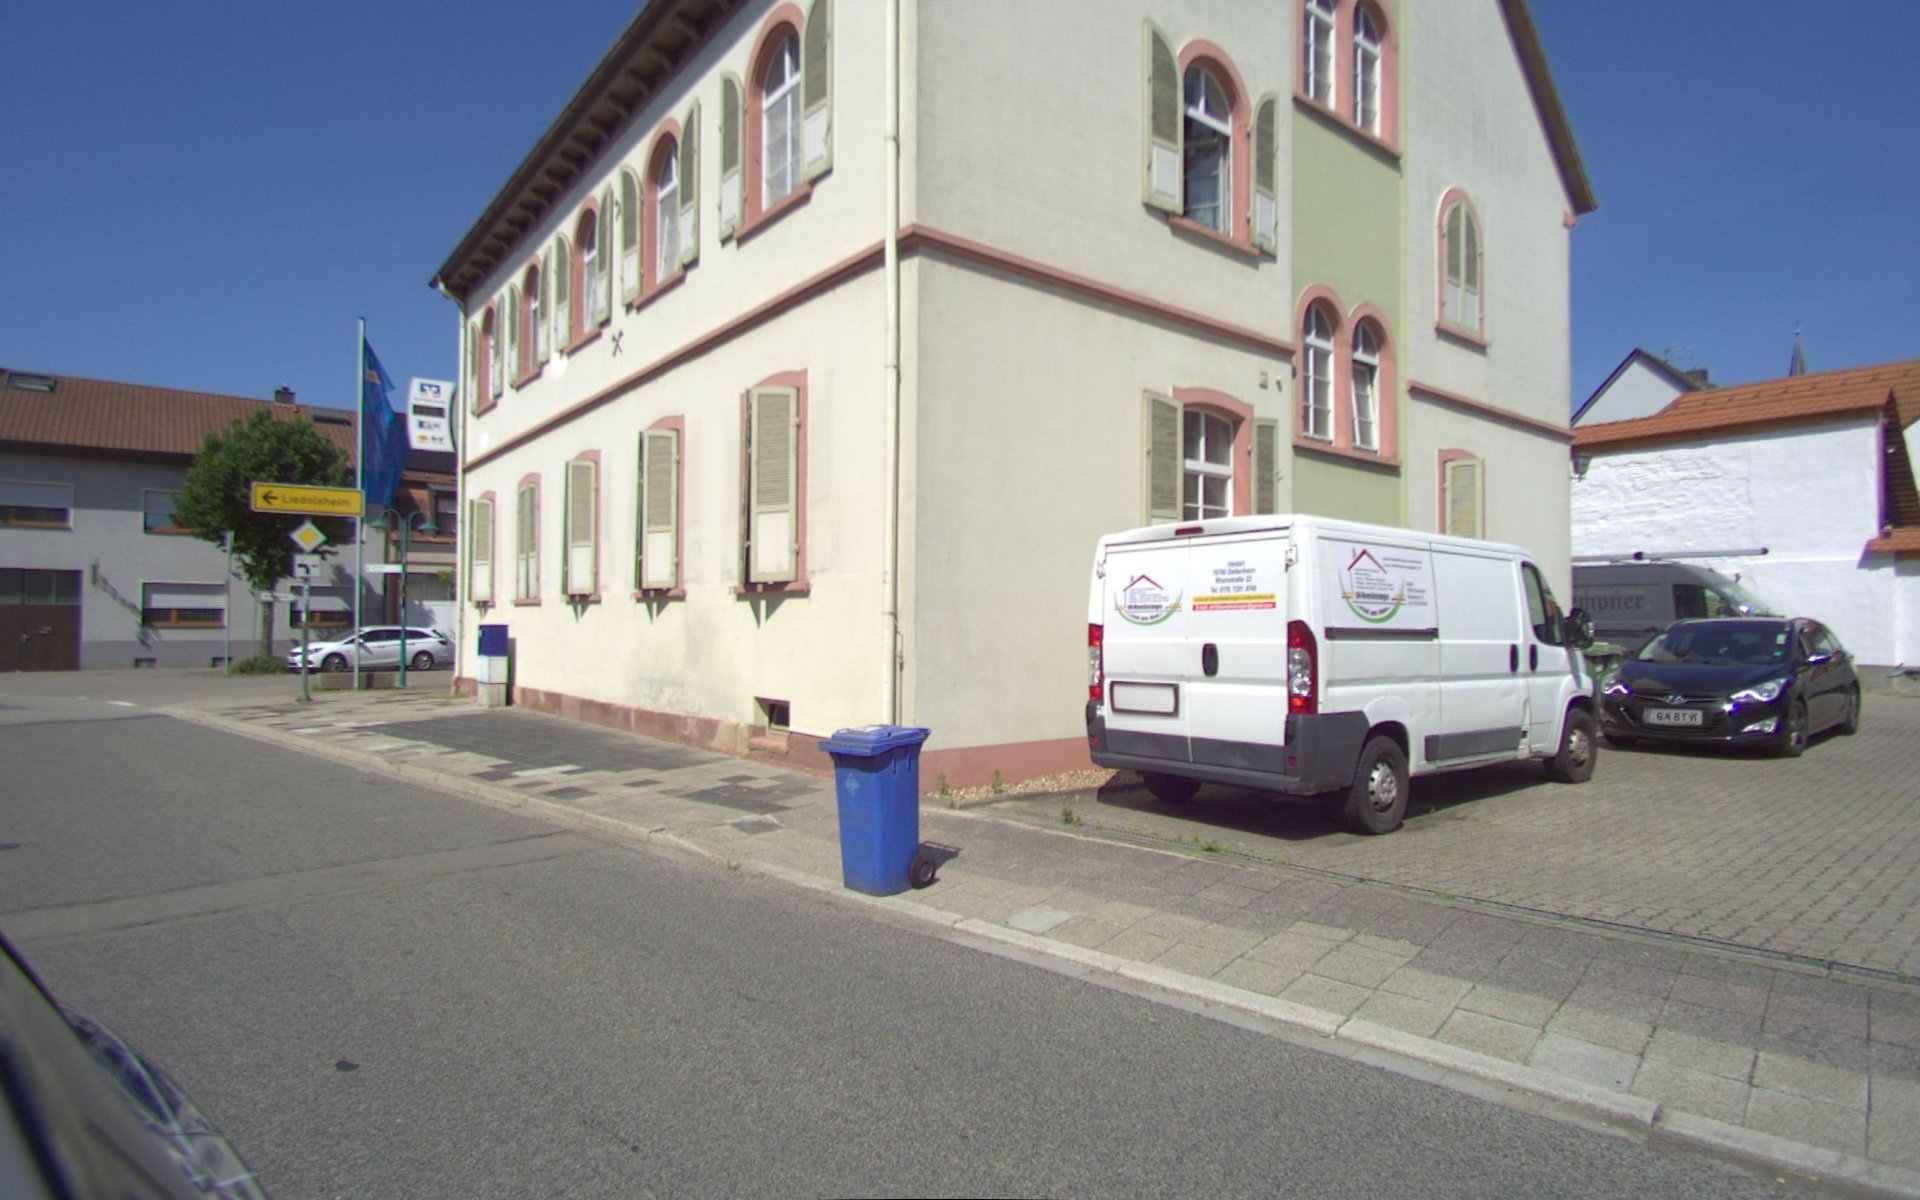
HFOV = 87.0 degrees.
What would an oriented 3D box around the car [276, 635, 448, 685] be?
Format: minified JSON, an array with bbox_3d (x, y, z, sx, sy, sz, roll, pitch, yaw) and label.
[{"bbox_3d":[-19.296,1.883,32.802,1.853,1.451,4.454,-2,-2,39],"label":"car"}]

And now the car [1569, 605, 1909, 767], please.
[{"bbox_3d":[9.218,0.873,11.881,4.292,1.477,1.914,-1,-1,-35],"label":"car"}]

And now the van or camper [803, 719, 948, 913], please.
[{"bbox_3d":[-0.488,1.205,5.830,0.582,0.959,0.601,1,-3,-42],"label":"van or camper"}]

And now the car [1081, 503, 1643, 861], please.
[{"bbox_3d":[3.634,0.556,8.675,5.108,2.213,2.127,1,-2,-38],"label":"car"}]

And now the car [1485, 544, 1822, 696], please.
[{"bbox_3d":[13.856,0.439,20.582,1.967,2.694,5.243,1,-2,-37],"label":"car"}]

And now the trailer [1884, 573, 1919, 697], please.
[{"bbox_3d":[17.736,0.525,15.567,1.968,2.029,4.906,1,-2,-38],"label":"trailer"}]
